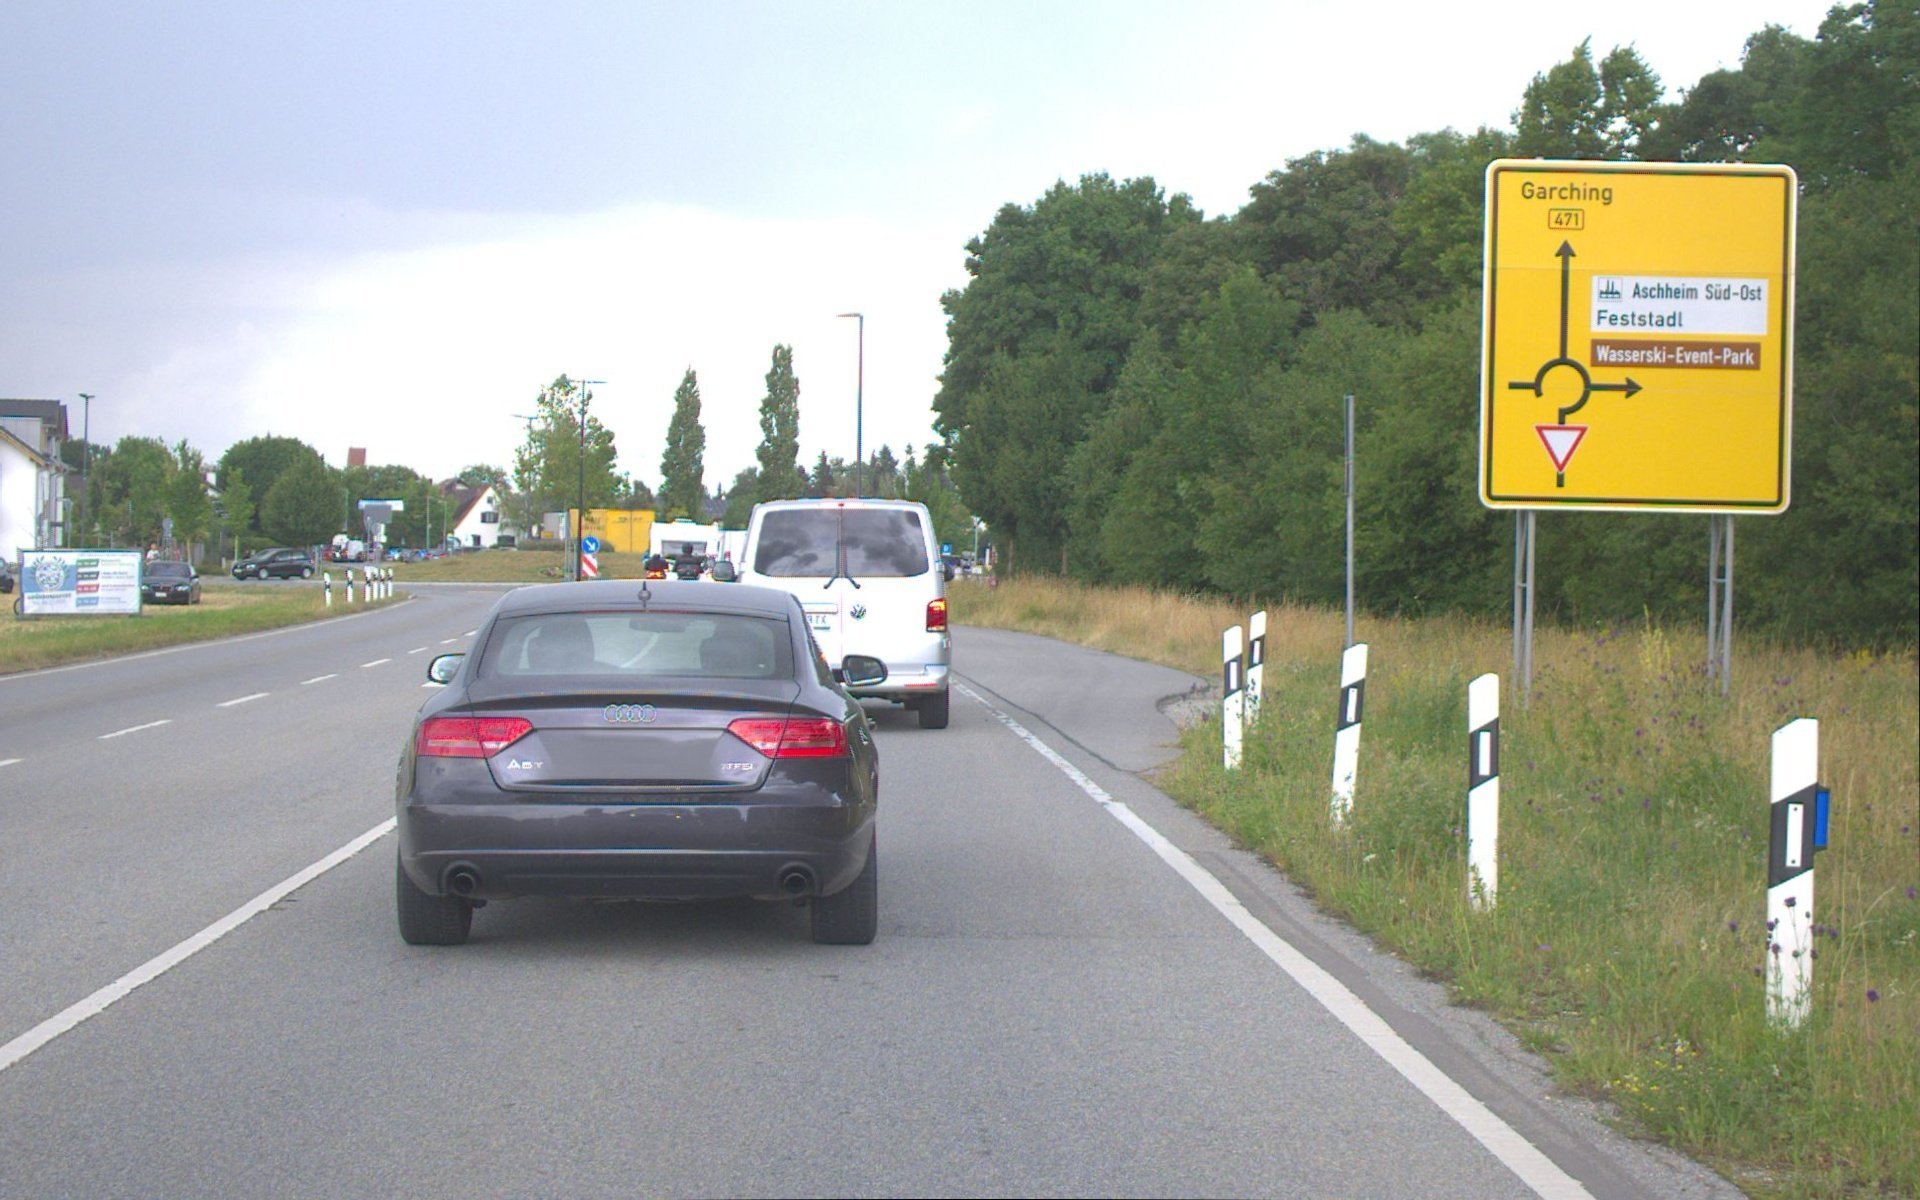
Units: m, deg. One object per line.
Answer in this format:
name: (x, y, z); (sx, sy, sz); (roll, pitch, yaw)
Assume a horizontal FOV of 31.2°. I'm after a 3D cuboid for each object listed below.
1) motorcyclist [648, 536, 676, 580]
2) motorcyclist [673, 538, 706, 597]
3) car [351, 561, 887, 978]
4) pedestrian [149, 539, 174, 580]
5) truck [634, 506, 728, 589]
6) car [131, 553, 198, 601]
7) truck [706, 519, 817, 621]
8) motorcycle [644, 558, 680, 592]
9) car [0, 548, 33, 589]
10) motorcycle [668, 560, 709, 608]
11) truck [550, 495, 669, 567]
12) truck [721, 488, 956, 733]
motorcyclist: (-9.278, -1.319, 107.008); (0.785, 1.352, 0.854); (1, 1, -9)
motorcyclist: (-6.461, -0.783, 82.130); (0.772, 1.379, 0.820); (1, 1, -4)
car: (-1.333, 0.576, 14.209); (1.875, 1.449, 4.177); (0, 1, -4)
pedestrian: (-30.765, -1.555, 132.470); (0.701, 1.580, 0.657); (1, 0, 14)
truck: (-9.641, -1.797, 118.468); (2.625, 2.728, 5.869); (1, 1, -10)
car: (-25.486, -0.743, 110.089); (1.993, 1.437, 4.001); (1, 1, -14)
truck: (-4.093, -0.633, 71.168); (2.193, 2.007, 5.085); (1, 1, -3)
motorcycle: (-9.286, -0.785, 107.031); (0.944, 1.016, 2.284); (1, 1, -9)
car: (-34.899, -1.132, 121.997); (1.995, 1.441, 4.209); (1, 1, 15)
motorcycle: (-6.480, -0.390, 82.176); (0.920, 1.090, 2.189); (1, 1, -3)
truck: (-18.392, -3.623, 179.780); (3.575, 3.566, 9.959); (1, 1, -21)
truck: (-1.119, 0.051, 30.641); (1.904, 1.991, 4.629); (1, 1, -3)
